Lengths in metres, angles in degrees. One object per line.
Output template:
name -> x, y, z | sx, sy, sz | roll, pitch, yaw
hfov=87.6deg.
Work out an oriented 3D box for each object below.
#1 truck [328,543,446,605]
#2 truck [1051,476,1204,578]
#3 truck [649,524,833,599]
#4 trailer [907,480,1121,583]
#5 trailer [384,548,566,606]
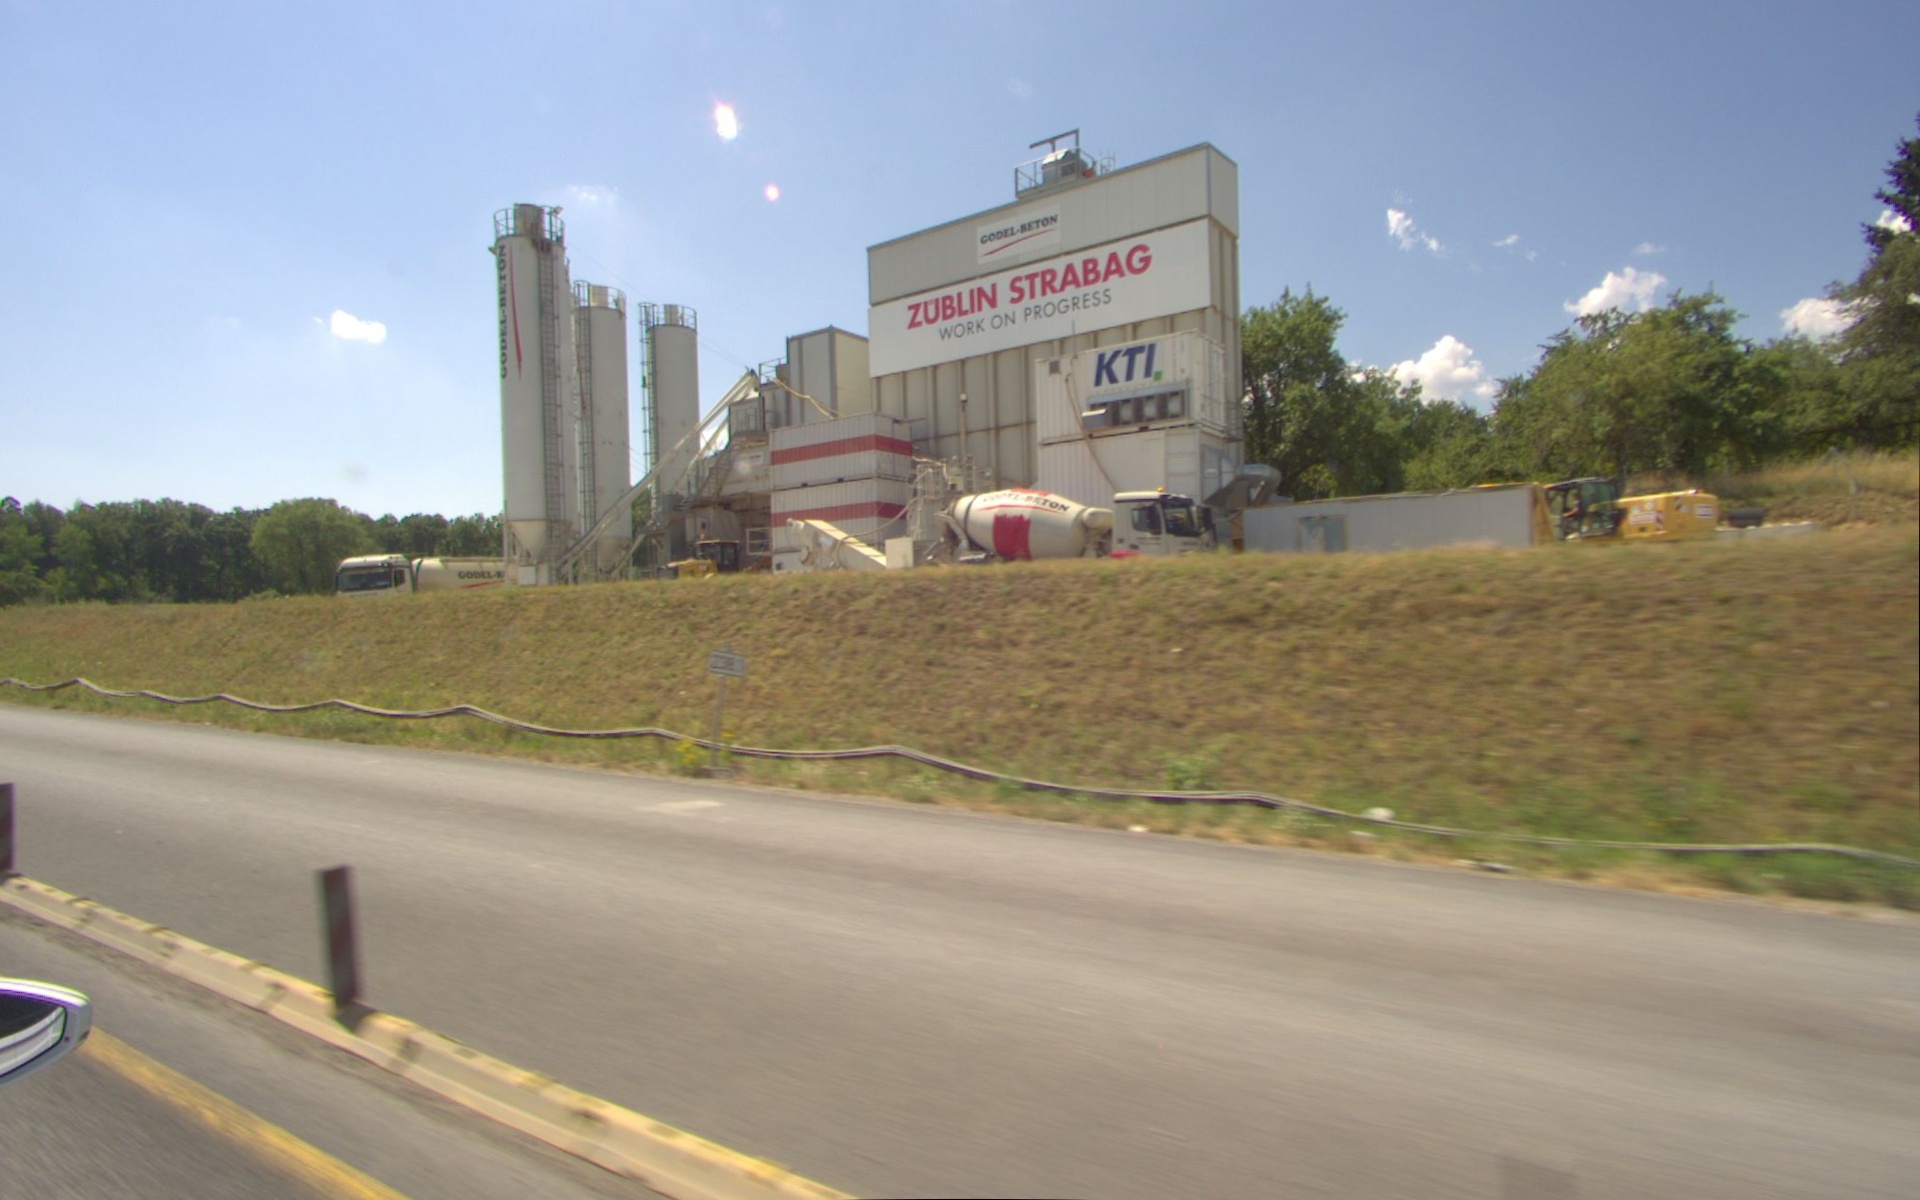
truck -> -26.976, -1.144, 47.431 | 2.849, 2.576, 5.310 | 0, -2, -4
truck -> 4.902, -2.051, 29.505 | 3.987, 2.577, 2.012 | -1, -2, 36
truck -> -10.059, -1.653, 47.151 | 2.429, 2.904, 9.041 | -1, -2, 37
trailer -> 1.584, -2.042, 31.921 | 6.845, 2.678, 1.988 | -2, -2, 36
trailer -> -25.252, -1.080, 52.767 | 2.426, 2.640, 8.888 | -1, -1, 28
